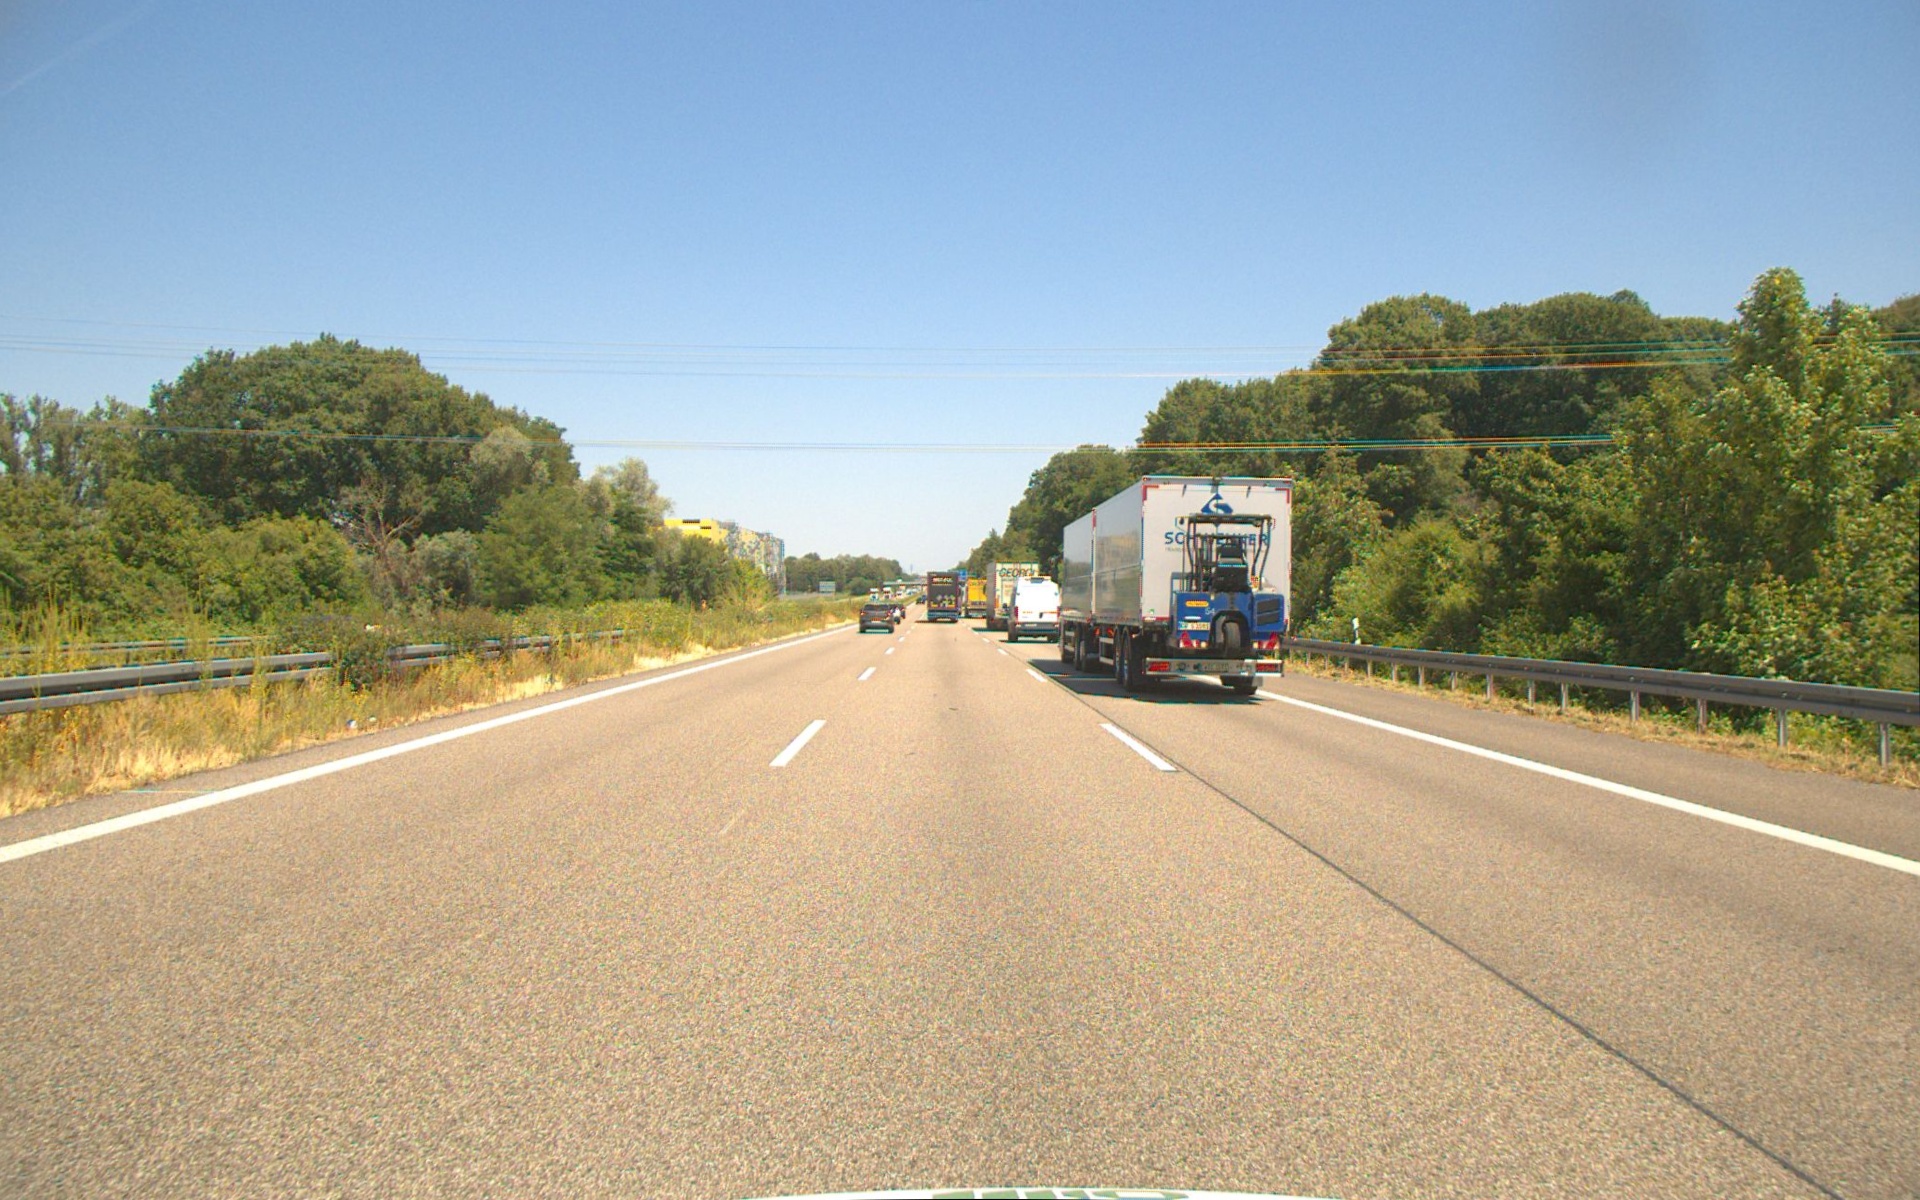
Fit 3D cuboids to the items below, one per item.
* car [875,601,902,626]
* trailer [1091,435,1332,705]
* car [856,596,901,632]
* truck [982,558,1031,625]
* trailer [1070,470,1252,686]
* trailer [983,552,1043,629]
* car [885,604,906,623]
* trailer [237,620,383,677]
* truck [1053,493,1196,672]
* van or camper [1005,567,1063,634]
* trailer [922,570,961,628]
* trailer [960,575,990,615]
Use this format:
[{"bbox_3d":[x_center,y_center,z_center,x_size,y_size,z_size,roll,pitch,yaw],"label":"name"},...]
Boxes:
[{"bbox_3d":[-5.302,0.986,122.704,1.953,1.758,4.129,0,0,-2],"label":"car"},{"bbox_3d":[4.217,-0.453,29.638,2.885,4.134,8.126,1,0,-1],"label":"trailer"},{"bbox_3d":[-4.272,0.721,87.585,2.171,1.821,5.392,-1,0,-1],"label":"car"},{"bbox_3d":[3.010,-0.533,108.046,2.941,4.197,5.251,0,0,-1],"label":"truck"},{"bbox_3d":[4.114,-0.411,35.481,2.860,4.112,7.315,1,0,-1],"label":"trailer"},{"bbox_3d":[3.119,-0.559,101.077,2.933,4.364,13.415,1,0,-1],"label":"trailer"},{"bbox_3d":[-6.183,1.293,158.584,1.902,1.736,3.999,0,0,-1],"label":"car"},{"bbox_3d":[-21.747,1.583,55.689,2.438,1.713,6.489,0,0,-1],"label":"trailer"},{"bbox_3d":[4.009,-0.392,41.779,2.830,4.101,6.868,1,0,-1],"label":"truck"},{"bbox_3d":[3.083,0.013,70.133,1.981,2.683,6.485,1,0,-1],"label":"van or camper"},{"bbox_3d":[-1.641,-0.087,137.947,3.043,4.585,14.891,1,0,-1],"label":"trailer"},{"bbox_3d":[1.485,-0.570,172.541,2.777,4.023,11.681,0,0,-1],"label":"trailer"}]
